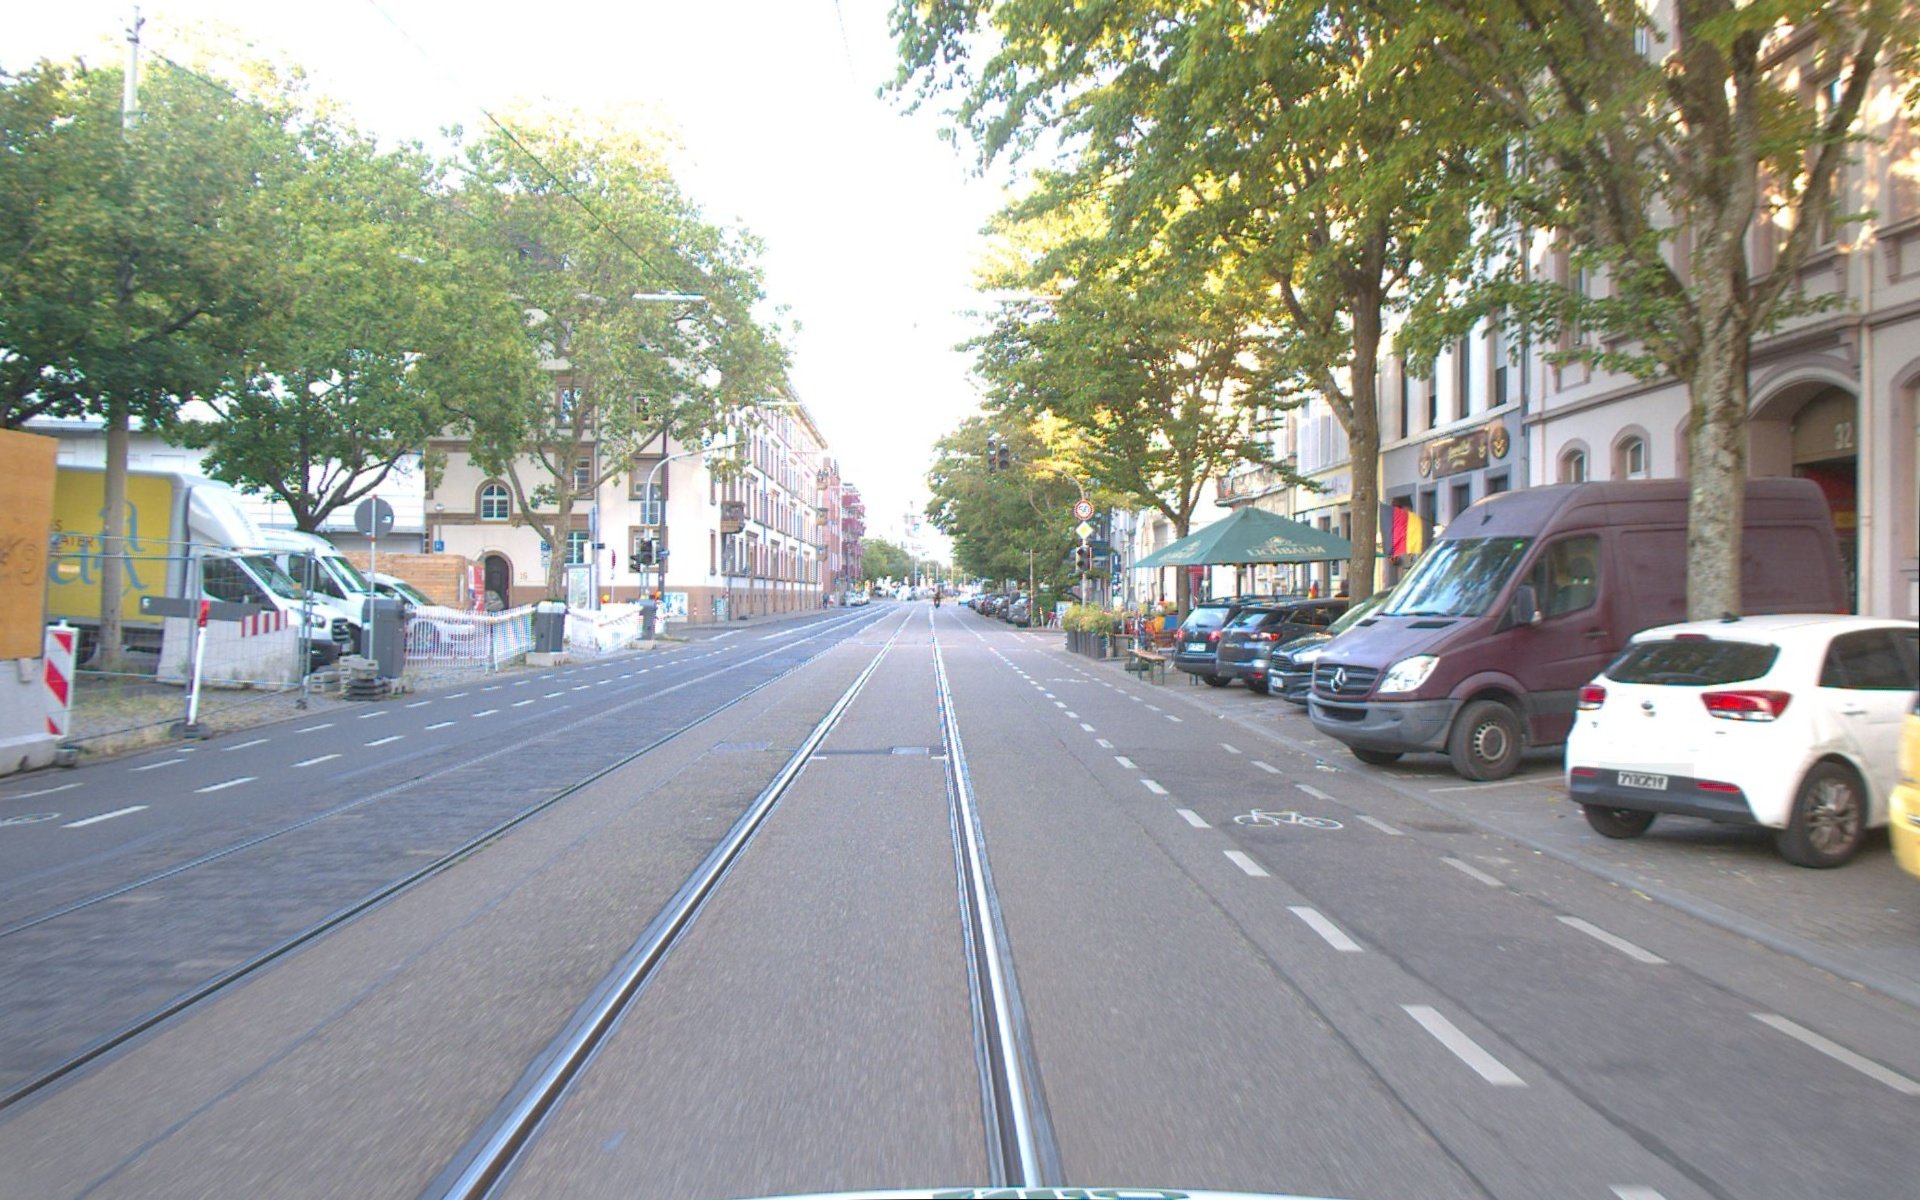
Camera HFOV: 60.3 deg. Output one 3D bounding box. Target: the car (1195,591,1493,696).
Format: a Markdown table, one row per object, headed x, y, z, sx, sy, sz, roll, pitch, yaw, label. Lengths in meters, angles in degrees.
| x | y | z | sx | sy | sz | roll | pitch | yaw | label |
| --- | --- | --- | --- | --- | --- | --- | --- | --- | --- |
| 5.987 | 0.646 | 25.902 | 4.109 | 1.488 | 1.999 | -1 | 0 | -17 | car |

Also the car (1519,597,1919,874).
| x | y | z | sx | sy | sz | roll | pitch | yaw | label |
| --- | --- | --- | --- | --- | --- | --- | --- | --- | --- |
| 5.917 | 0.762 | 11.062 | 3.901 | 1.512 | 1.905 | -2 | -1 | -25 | car |

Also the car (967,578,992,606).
| x | y | z | sx | sy | sz | roll | pitch | yaw | label |
| --- | --- | --- | --- | --- | --- | --- | --- | --- | --- |
| 1.440 | -0.596 | 126.014 | 1.768 | 2.049 | 3.999 | 1 | 0 | -1 | car |

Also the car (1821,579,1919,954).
| x | y | z | sx | sy | sz | roll | pitch | yaw | label |
| --- | --- | --- | --- | --- | --- | --- | --- | --- | --- |
| 6.134 | 0.676 | 7.081 | 3.870 | 1.648 | 1.920 | -2 | 0 | -1 | car |

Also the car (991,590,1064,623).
| x | y | z | sx | sy | sz | roll | pitch | yaw | label |
| --- | --- | --- | --- | --- | --- | --- | --- | --- | --- |
| 3.546 | 0.353 | 87.712 | 3.808 | 1.690 | 1.861 | 0 | 0 | 0 | car |

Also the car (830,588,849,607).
| x | y | z | sx | sy | sz | roll | pitch | yaw | label |
| --- | --- | --- | --- | --- | --- | --- | --- | --- | --- |
| -13.364 | -0.320 | 182.984 | 1.859 | 2.049 | 3.999 | 1 | 0 | -1 | car |

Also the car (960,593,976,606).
| x | y | z | sx | sy | sz | roll | pitch | yaw | label |
| --- | --- | --- | --- | --- | --- | --- | --- | --- | --- |
| 1.019 | -0.075 | 214.165 | 1.923 | 1.748 | 3.999 | 1 | 0 | -1 | car |

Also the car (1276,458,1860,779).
| x | y | z | sx | sy | sz | roll | pitch | yaw | label |
| --- | --- | --- | --- | --- | --- | --- | --- | --- | --- |
| 5.746 | 0.093 | 15.711 | 5.016 | 2.689 | 2.011 | -2 | 0 | -18 | car |

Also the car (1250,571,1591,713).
| x | y | z | sx | sy | sz | roll | pitch | yaw | label |
| --- | --- | --- | --- | --- | --- | --- | --- | --- | --- |
| 6.003 | 0.526 | 21.809 | 3.936 | 1.737 | 1.815 | -1 | 0 | -7 | car |

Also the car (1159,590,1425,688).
| x | y | z | sx | sy | sz | roll | pitch | yaw | label |
| --- | --- | --- | --- | --- | --- | --- | --- | --- | --- |
| 5.704 | 0.635 | 28.390 | 4.123 | 1.525 | 1.992 | -1 | 0 | -26 | car |

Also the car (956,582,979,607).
| x | y | z | sx | sy | sz | roll | pitch | yaw | label |
| --- | --- | --- | --- | --- | --- | --- | --- | --- | --- |
| 0.634 | -0.436 | 139.414 | 1.859 | 2.049 | 3.999 | 1 | 0 | -1 | car |

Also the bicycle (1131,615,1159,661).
| x | y | z | sx | sy | sz | roll | pitch | yaw | label |
| --- | --- | --- | --- | --- | --- | --- | --- | --- | --- |
| 4.386 | 0.886 | 39.274 | 0.410 | 1.033 | 1.829 | 1 | 0 | -1 | bicycle |

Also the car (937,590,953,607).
| x | y | z | sx | sy | sz | roll | pitch | yaw | label |
| --- | --- | --- | --- | --- | --- | --- | --- | --- | --- |
| -1.836 | -0.182 | 202.745 | 1.859 | 2.049 | 3.999 | 1 | 0 | -1 | car |

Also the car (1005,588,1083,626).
| x | y | z | sx | sy | sz | roll | pitch | yaw | label |
| --- | --- | --- | --- | --- | --- | --- | --- | --- | --- |
| 4.202 | 0.341 | 83.126 | 3.808 | 1.880 | 1.861 | 0 | 0 | 0 | car |

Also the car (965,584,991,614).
| x | y | z | sx | sy | sz | roll | pitch | yaw | label |
| --- | --- | --- | --- | --- | --- | --- | --- | --- | --- |
| 1.238 | -0.075 | 116.736 | 1.687 | 2.049 | 3.999 | 1 | 0 | -1 | car |

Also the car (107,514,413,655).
| x | y | z | sx | sy | sz | roll | pitch | yaw | label |
| --- | --- | --- | --- | --- | --- | --- | --- | --- | --- |
| -14.343 | -0.315 | 34.168 | 5.293 | 2.603 | 2.225 | 2 | 1 | -4 | car |

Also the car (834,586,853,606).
| x | y | z | sx | sy | sz | roll | pitch | yaw | label |
| --- | --- | --- | --- | --- | --- | --- | --- | --- | --- |
| -13.197 | -0.454 | 187.634 | 1.859 | 2.216 | 3.999 | 1 | 0 | -1 | car |

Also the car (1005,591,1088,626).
| x | y | z | sx | sy | sz | roll | pitch | yaw | label |
| --- | --- | --- | --- | --- | --- | --- | --- | --- | --- |
| 4.021 | 0.377 | 77.661 | 3.808 | 1.620 | 1.861 | 0 | 0 | 0 | car |

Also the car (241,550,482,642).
| x | y | z | sx | sy | sz | roll | pitch | yaw | label |
| --- | --- | --- | --- | --- | --- | --- | --- | --- | --- |
| -14.421 | -0.109 | 40.058 | 4.922 | 1.979 | 2.228 | 2 | 1 | 3 | car |

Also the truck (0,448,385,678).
| x | y | z | sx | sy | sz | roll | pitch | yaw | label |
| --- | --- | --- | --- | --- | --- | --- | --- | --- | --- |
| -13.822 | -0.638 | 28.352 | 6.919 | 3.541 | 2.539 | 2 | 1 | -5 | truck |
